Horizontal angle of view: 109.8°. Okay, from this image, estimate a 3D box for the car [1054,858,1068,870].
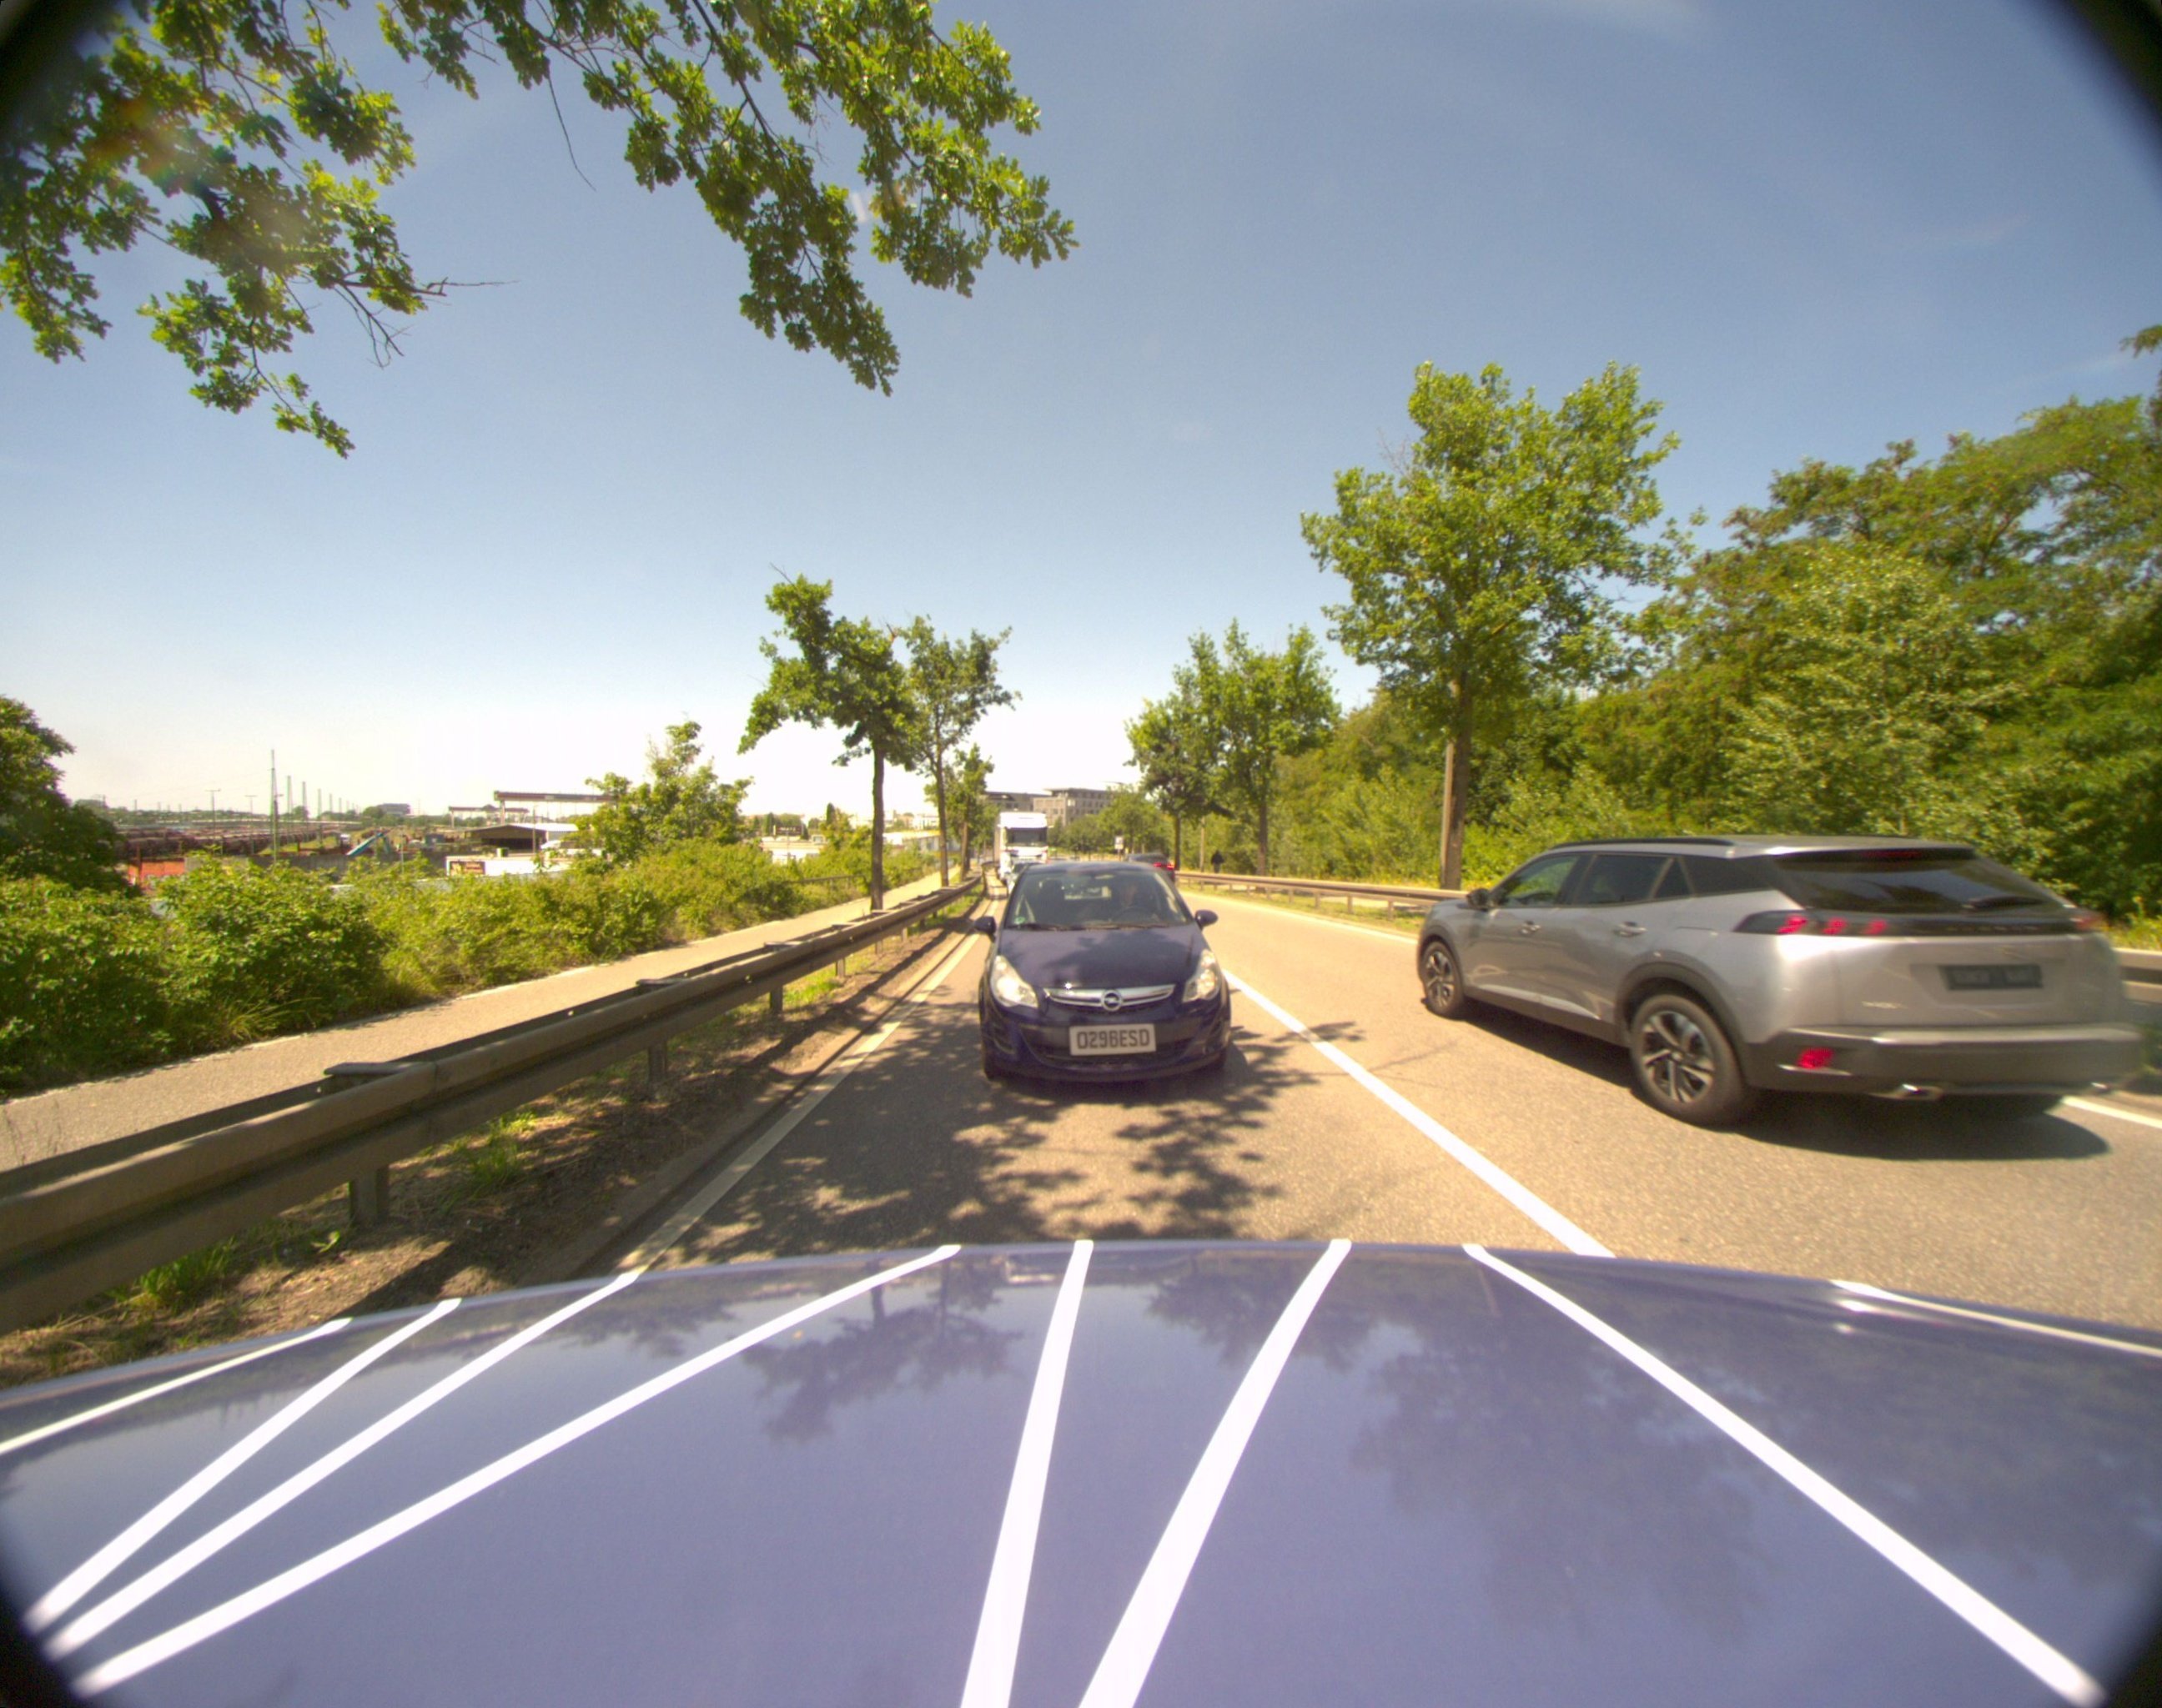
[{"bbox_3d":[-3.653,1.838,139.270,1.779,2.002,4.003,-2,1,10],"label":"car"}]

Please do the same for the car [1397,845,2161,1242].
[{"bbox_3d":[3.918,0.744,5.124,1.754,1.547,4.126,-2,1,-1],"label":"car"}]

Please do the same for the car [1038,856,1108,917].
[{"bbox_3d":[-0.325,0.864,21.885,1.781,1.498,3.894,-2,1,-4],"label":"car"}]

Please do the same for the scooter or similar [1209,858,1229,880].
[{"bbox_3d":[7.050,0.772,38.923,0.779,1.085,1.094,-2,1,-3],"label":"scooter or similar"}]

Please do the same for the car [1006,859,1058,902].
[{"bbox_3d":[-1.811,0.927,28.379,1.781,1.398,3.998,-2,1,-3],"label":"car"}]

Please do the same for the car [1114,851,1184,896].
[{"bbox_3d":[2.571,0.716,29.897,1.875,1.594,4.390,-2,0,-6],"label":"car"}]

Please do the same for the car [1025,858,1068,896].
[{"bbox_3d":[-1.677,1.042,35.898,1.781,1.569,3.997,-2,1,-6],"label":"car"}]

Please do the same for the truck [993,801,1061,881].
[{"bbox_3d":[-3.804,-0.747,48.548,3.072,4.146,16.898,-2,1,-8],"label":"truck"}]

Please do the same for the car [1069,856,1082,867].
[{"bbox_3d":[-1.002,1.464,151.284,1.779,2.002,4.003,-2,1,10],"label":"car"}]

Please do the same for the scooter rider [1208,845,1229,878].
[{"bbox_3d":[7.037,0.359,38.892,0.779,1.648,1.120,-2,1,-2],"label":"scooter rider"}]

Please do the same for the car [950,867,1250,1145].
[{"bbox_3d":[-0.023,0.911,6.359,1.720,1.455,3.836,-2,1,-5],"label":"car"}]
